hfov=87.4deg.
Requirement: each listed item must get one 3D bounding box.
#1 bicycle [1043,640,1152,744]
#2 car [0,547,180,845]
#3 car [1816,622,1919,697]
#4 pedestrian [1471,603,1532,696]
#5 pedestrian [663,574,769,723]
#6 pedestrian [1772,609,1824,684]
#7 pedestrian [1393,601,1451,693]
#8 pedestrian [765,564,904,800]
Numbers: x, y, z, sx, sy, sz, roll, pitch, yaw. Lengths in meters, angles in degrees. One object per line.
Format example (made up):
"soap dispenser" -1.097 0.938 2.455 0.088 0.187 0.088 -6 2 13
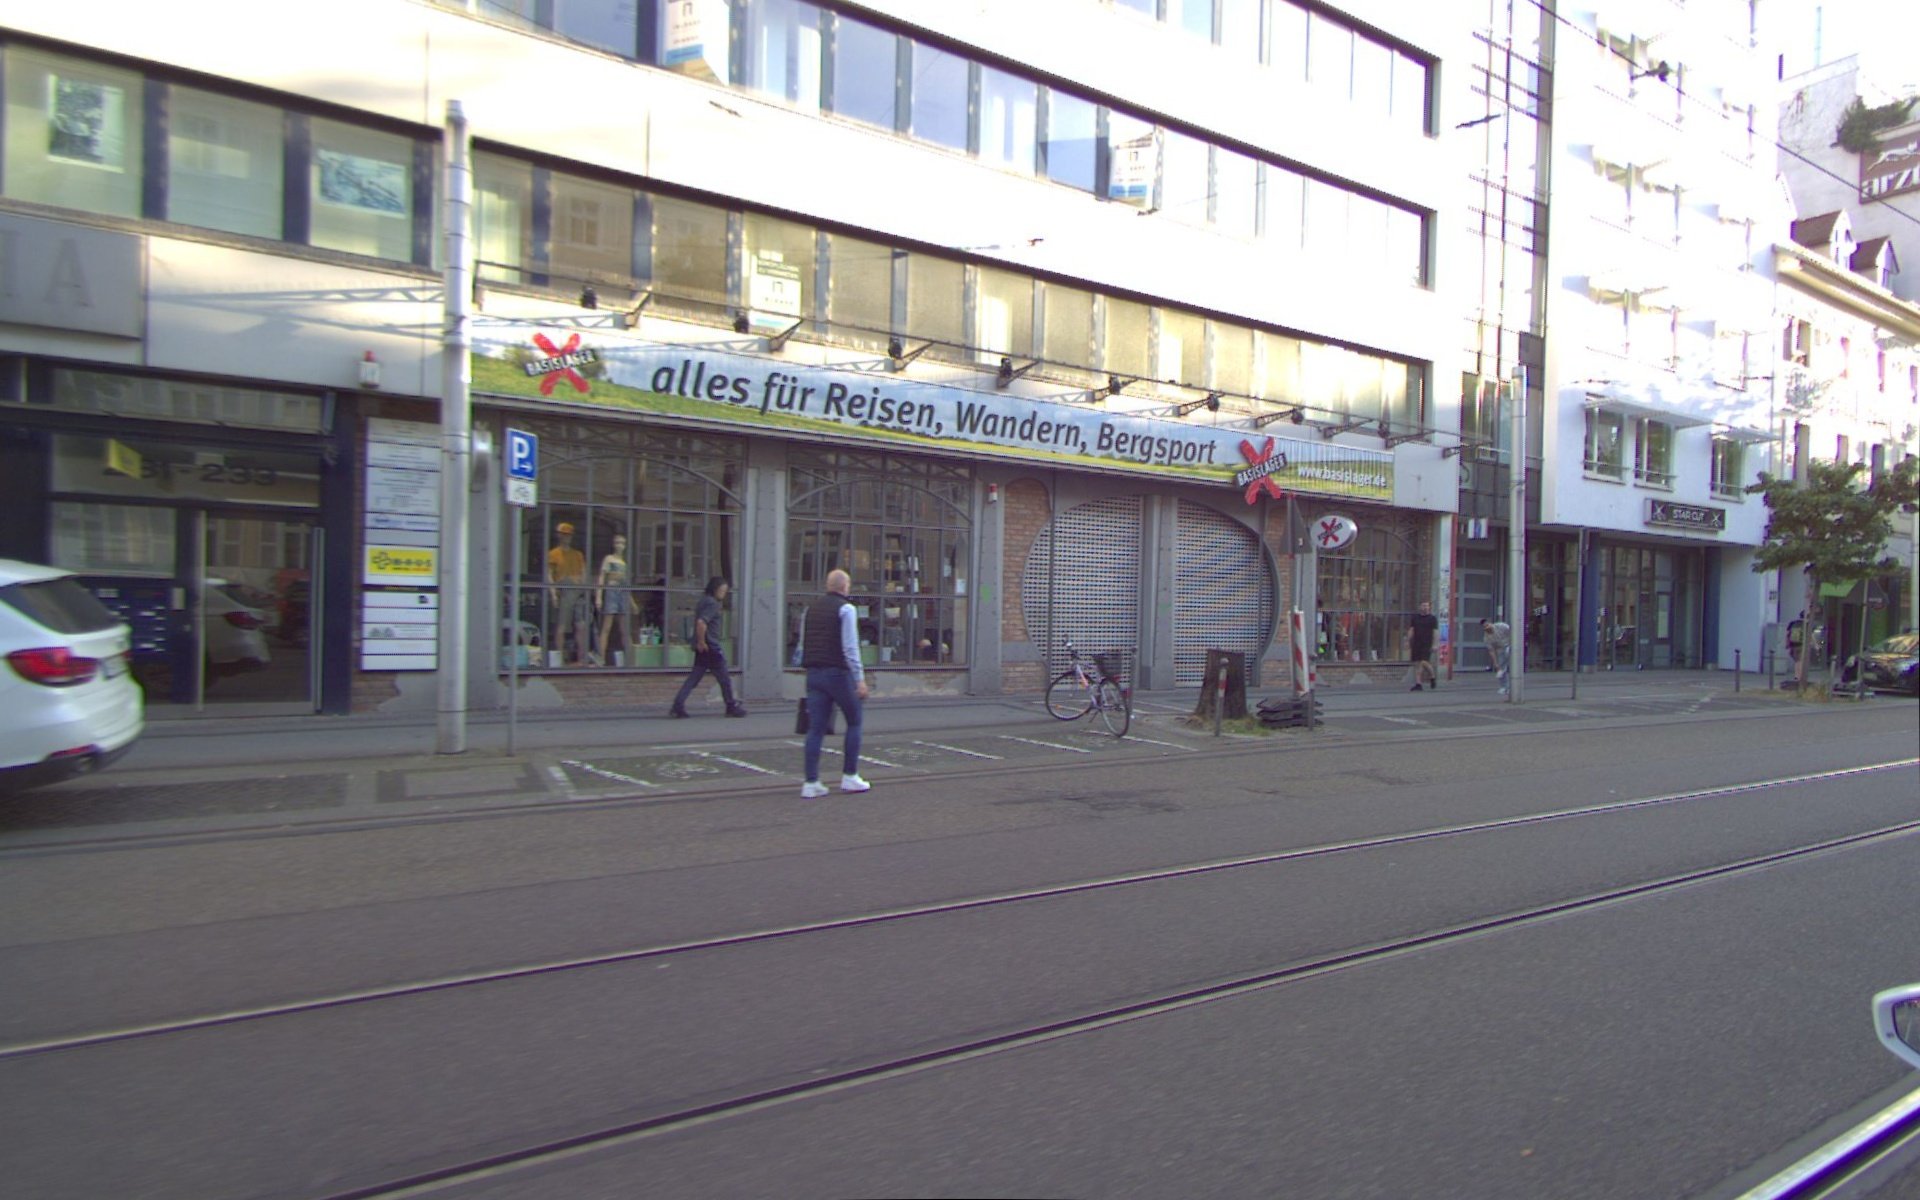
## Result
"bicycle" 1.626 1.068 12.160 0.471 1.005 1.741 1 3 -22
"car" -7.760 0.510 5.958 4.690 1.778 1.983 1 2 -31
"car" 22.969 1.425 24.312 3.647 1.638 1.630 2 2 -16
"pedestrian" 10.524 0.953 19.539 0.818 1.736 0.639 1 1 -26
"pedestrian" -2.996 0.573 12.303 1.025 1.718 0.828 1 2 -30
"pedestrian" 21.407 1.178 25.655 0.868 1.850 0.656 1 3 -30
"pedestrian" 9.056 0.910 19.699 0.797 1.736 0.625 1 1 -26
"pedestrian" -1.002 0.628 8.180 0.836 1.790 0.832 1 0 15
